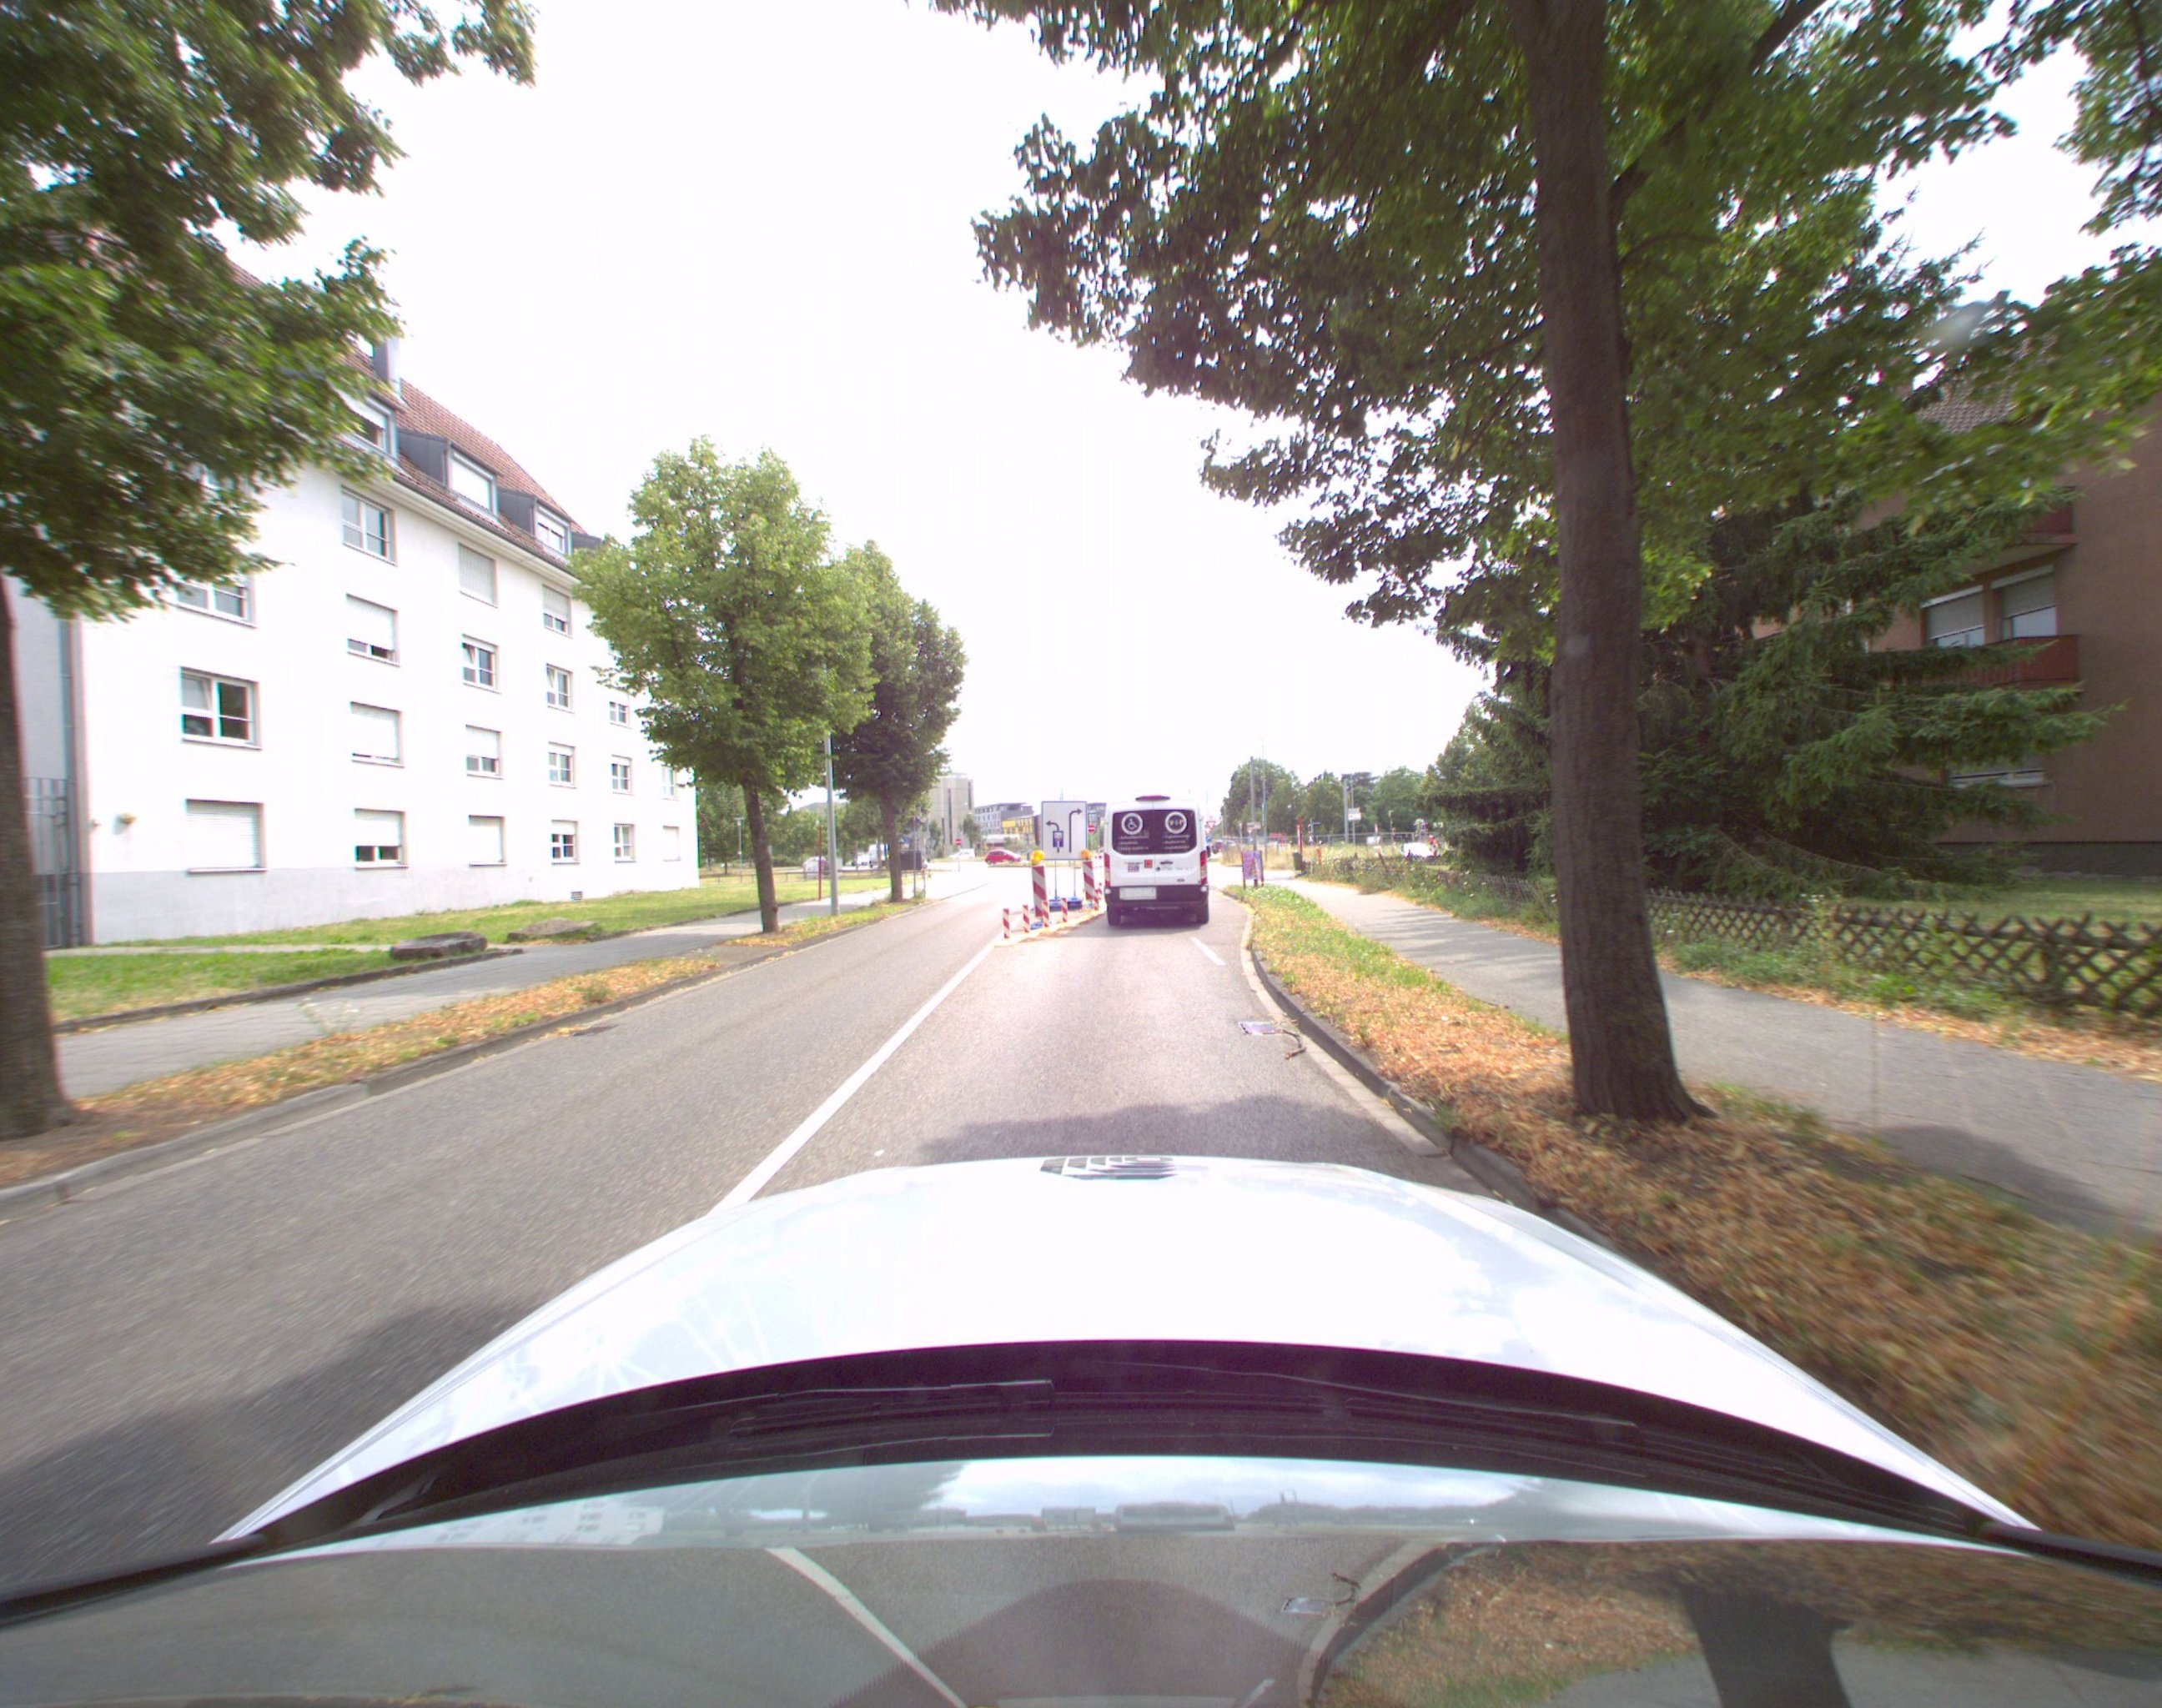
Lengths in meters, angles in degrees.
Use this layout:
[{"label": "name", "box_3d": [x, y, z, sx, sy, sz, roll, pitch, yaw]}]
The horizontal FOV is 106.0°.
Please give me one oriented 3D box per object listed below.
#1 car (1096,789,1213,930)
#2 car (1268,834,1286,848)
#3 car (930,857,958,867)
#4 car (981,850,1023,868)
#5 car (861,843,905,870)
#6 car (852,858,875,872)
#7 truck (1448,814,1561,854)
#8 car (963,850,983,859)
[{"label": "car", "box_3d": [1.600, 0.090, 17.036, 2.052, 2.539, 4.008, -2, 0, 7]}, {"label": "car", "box_3d": [27.669, -1.808, 114.740, 1.990, 1.816, 4.433, -4, 0, 18]}, {"label": "car", "box_3d": [-21.909, 1.252, 130.027, 4.013, 1.192, 1.669, -4, 0, -30]}, {"label": "car", "box_3d": [-8.385, 0.522, 86.513, 3.958, 1.662, 1.898, -4, 0, 14]}, {"label": "car", "box_3d": [-22.843, 0.315, 93.867, 2.632, 2.851, 5.610, -4, 0, -38]}, {"label": "car", "box_3d": [-27.779, 1.409, 103.949, 1.896, 1.662, 3.962, -4, 0, -29]}, {"label": "truck", "box_3d": [28.790, -1.306, 55.634, 6.600, 2.426, 2.549, -2, 0, 26]}, {"label": "car", "box_3d": [-23.177, 0.054, 174.809, 3.993, 1.662, 1.882, -4, 0, -14]}]
